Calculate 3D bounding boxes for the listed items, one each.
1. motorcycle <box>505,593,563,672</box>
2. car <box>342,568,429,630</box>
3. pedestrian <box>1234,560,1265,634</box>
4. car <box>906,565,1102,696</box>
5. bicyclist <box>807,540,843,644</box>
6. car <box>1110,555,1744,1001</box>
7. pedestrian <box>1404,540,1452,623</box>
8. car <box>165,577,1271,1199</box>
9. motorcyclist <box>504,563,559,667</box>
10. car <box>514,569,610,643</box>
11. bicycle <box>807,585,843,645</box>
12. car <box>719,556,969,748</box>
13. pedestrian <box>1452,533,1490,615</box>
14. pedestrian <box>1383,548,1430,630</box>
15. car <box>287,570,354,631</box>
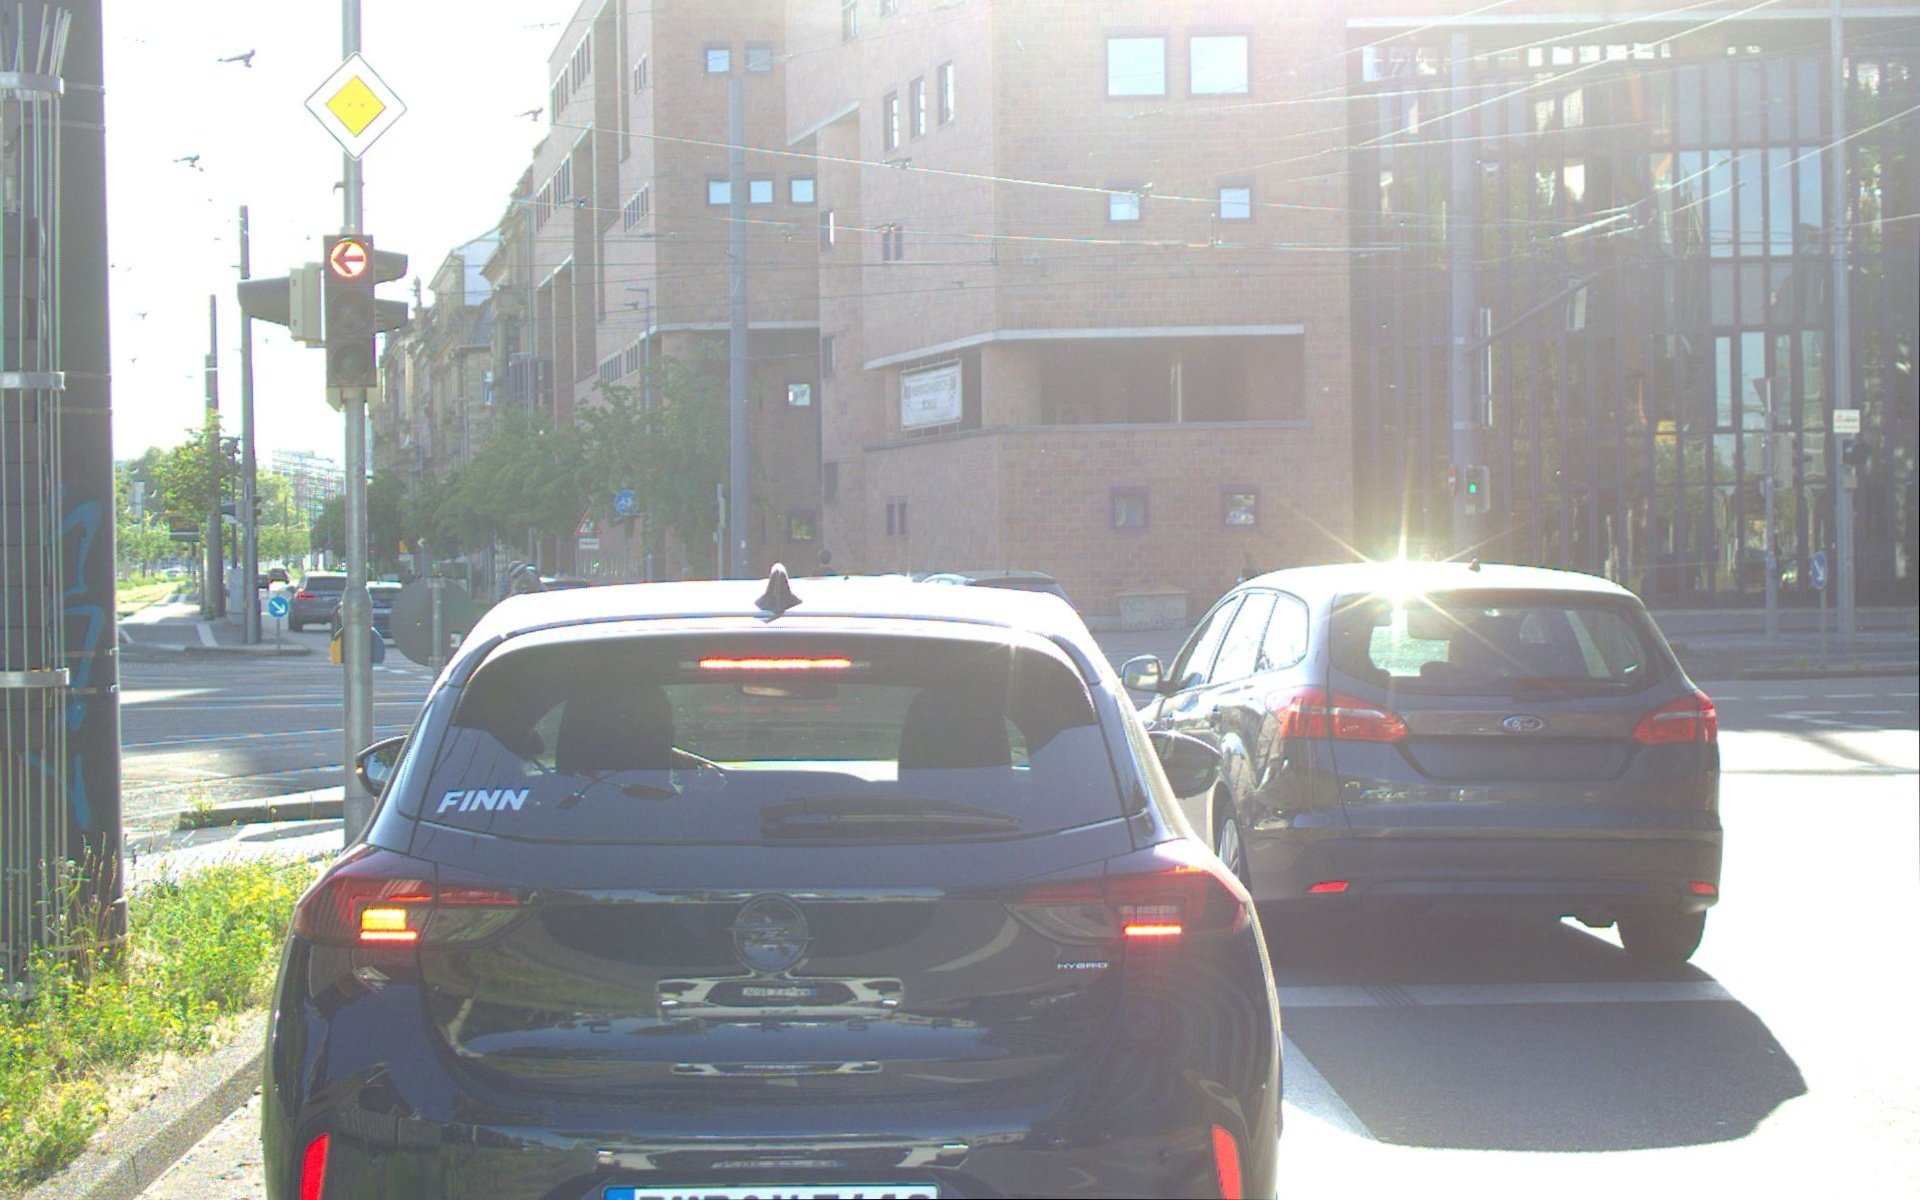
[{"bbox_3d":[-6.366,0.475,51.346,0.775,1.111,1.970,-1,1,-9],"label":"motorcycle"},{"bbox_3d":[-12.920,-0.043,77.202,1.737,1.345,4.001,-1,1,-12],"label":"car"},{"bbox_3d":[5.625,-0.058,66.792,0.529,1.425,0.598,-1,1,-1],"label":"pedestrian"},{"bbox_3d":[0.470,0.327,40.871,1.807,1.452,4.001,0,1,-7],"label":"car"},{"bbox_3d":[-2.348,-0.139,59.784,0.577,1.785,0.864,-1,1,-3],"label":"bicyclist"},{"bbox_3d":[1.666,0.569,13.618,1.685,1.428,4.154,0,1,-4],"label":"car"},{"bbox_3d":[9.204,-0.372,67.580,0.900,1.611,0.560,-1,1,8],"label":"pedestrian"},{"bbox_3d":[-0.337,0.688,7.151,1.649,1.428,4.000,-1,1,1],"label":"car"},{"bbox_3d":[-6.398,0.213,51.314,0.744,1.525,1.021,-1,1,-10],"label":"motorcyclist"},{"bbox_3d":[-8.196,0.103,70.549,1.807,1.452,4.001,0,1,-9],"label":"car"},{"bbox_3d":[-2.352,0.250,59.785,0.491,0.994,2.328,-1,1,-5],"label":"bicycle"},{"bbox_3d":[-1.101,0.399,30.226,1.811,1.487,4.497,3,0,-6],"label":"car"},{"bbox_3d":[10.232,-0.526,68.841,0.738,1.611,0.560,-1,1,8],"label":"pedestrian"},{"bbox_3d":[8.889,-0.219,68.375,0.900,1.611,0.560,-1,1,8],"label":"pedestrian"},{"bbox_3d":[-17.866,-0.012,95.906,1.737,1.645,4.001,-1,1,-12],"label":"car"}]
